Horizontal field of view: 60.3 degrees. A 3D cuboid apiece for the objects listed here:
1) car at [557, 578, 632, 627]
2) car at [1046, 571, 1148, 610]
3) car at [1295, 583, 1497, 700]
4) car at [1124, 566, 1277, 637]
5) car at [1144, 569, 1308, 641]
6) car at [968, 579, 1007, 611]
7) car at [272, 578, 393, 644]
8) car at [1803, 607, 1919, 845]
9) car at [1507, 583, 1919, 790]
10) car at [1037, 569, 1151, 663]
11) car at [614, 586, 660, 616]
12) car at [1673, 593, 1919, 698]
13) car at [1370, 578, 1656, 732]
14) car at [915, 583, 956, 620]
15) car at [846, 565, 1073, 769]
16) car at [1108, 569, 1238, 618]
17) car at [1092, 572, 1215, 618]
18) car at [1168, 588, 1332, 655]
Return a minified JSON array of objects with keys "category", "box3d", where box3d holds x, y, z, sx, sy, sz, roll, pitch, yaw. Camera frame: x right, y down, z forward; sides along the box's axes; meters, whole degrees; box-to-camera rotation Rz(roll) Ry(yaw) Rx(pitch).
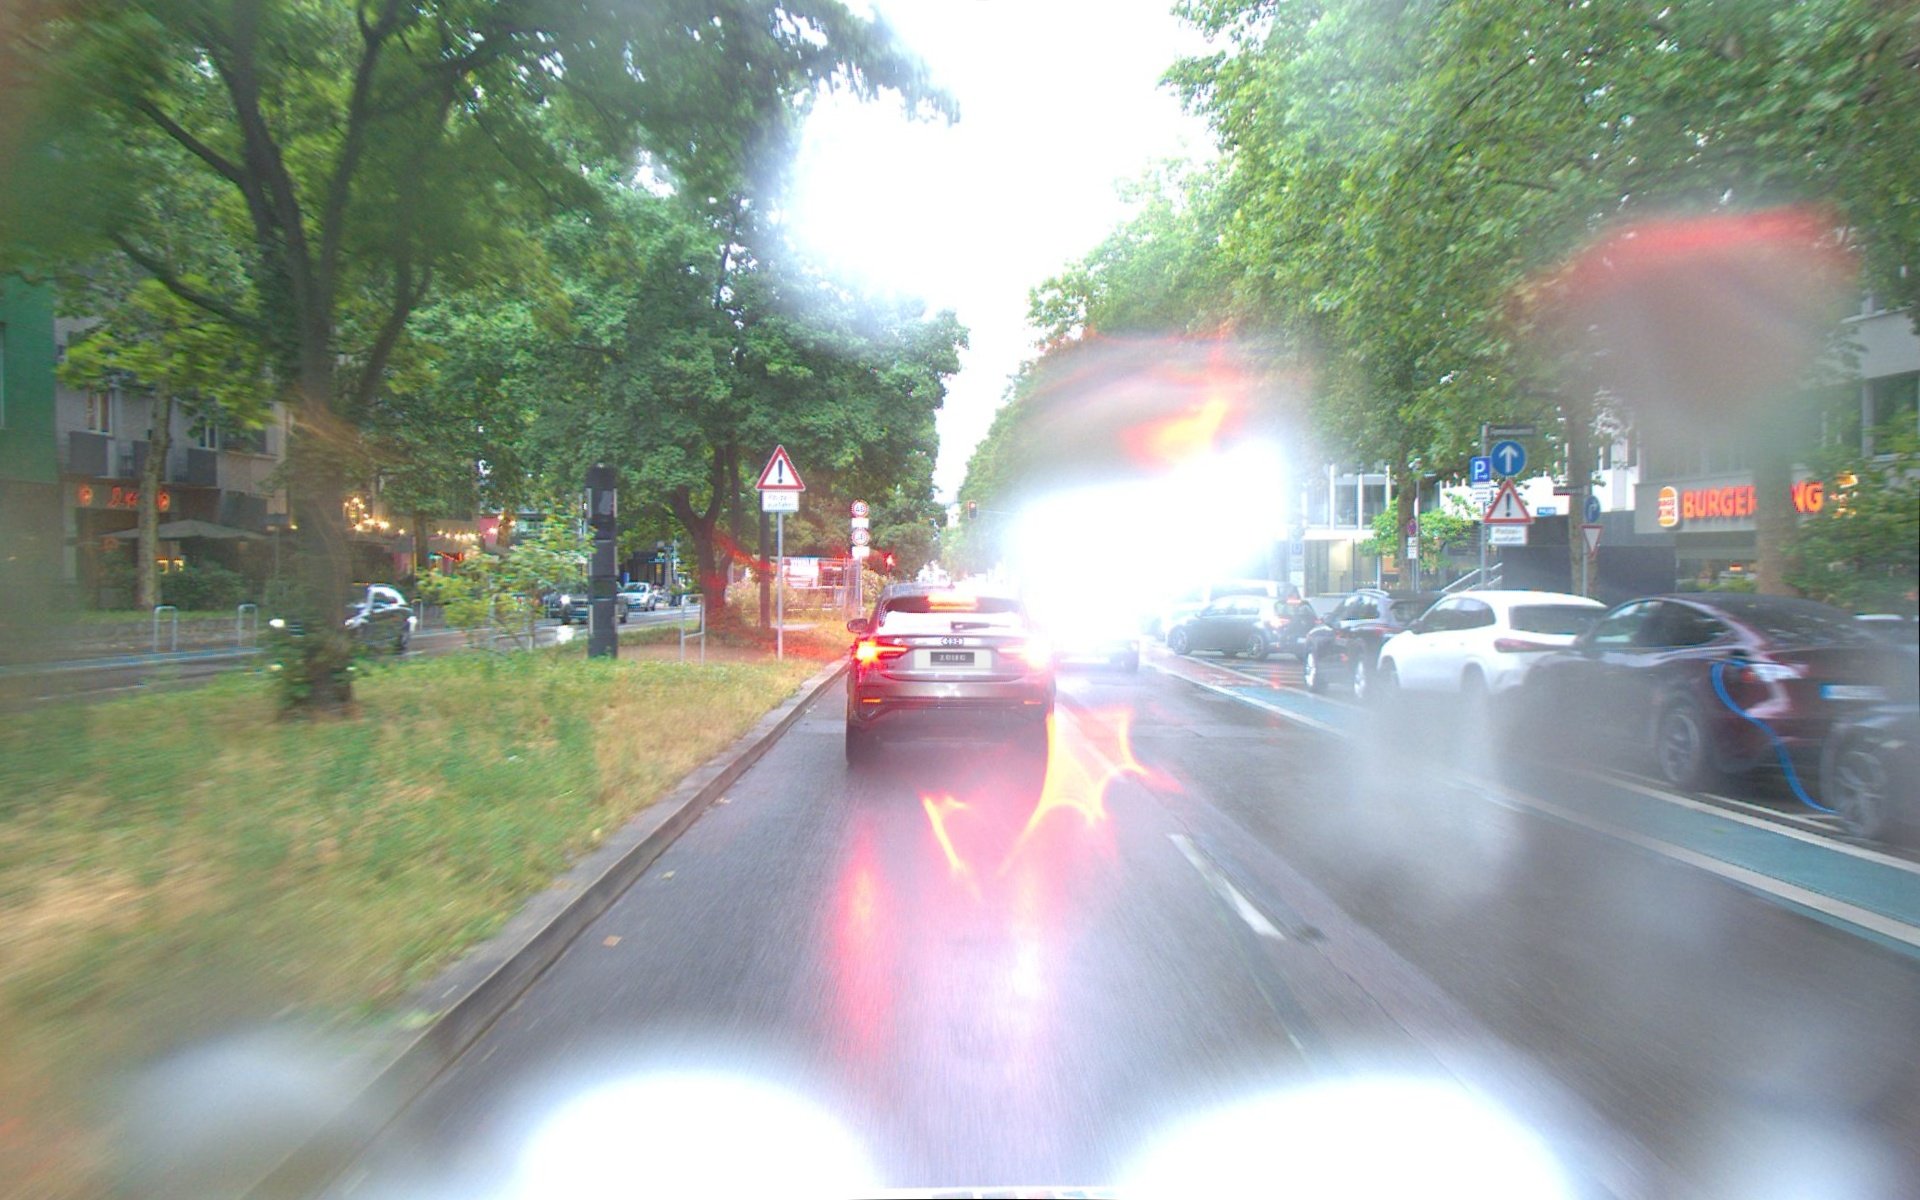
[{"category":"car","box3d":[-13.621,0.104,61.826,1.724,1.733,4.333,2,0,1]},{"category":"car","box3d":[6.726,-0.468,81.325,4.548,1.736,1.998,2,0,27]},{"category":"car","box3d":[6.365,0.571,24.596,1.662,1.549,4.020,2,0,-4]},{"category":"car","box3d":[8.289,0.046,56.989,4.787,2.293,1.997,2,0,28]},{"category":"car","box3d":[8.037,0.142,50.213,4.517,2.049,1.960,2,0,37]},{"category":"car","box3d":[1.505,-0.245,91.694,1.953,1.680,3.999,2,0,-1]},{"category":"car","box3d":[-13.223,0.228,35.039,1.658,1.280,3.637,2,0,-9]},{"category":"car","box3d":[6.846,0.811,9.221,1.835,1.445,4.610,2,0,-1]},{"category":"car","box3d":[6.721,0.669,14.938,1.830,1.547,4.556,2,0,-3]},{"category":"car","box3d":[2.607,0.302,33.070,1.840,1.727,3.999,2,0,-1]},{"category":"car","box3d":[-17.352,0.043,88.956,1.691,1.544,3.999,2,0,-1]},{"category":"car","box3d":[14.446,0.755,27.913,4.155,1.594,2.056,2,0,16]},{"category":"car","box3d":[6.420,0.592,19.689,1.694,1.599,4.069,2,0,-6]},{"category":"car","box3d":[-1.264,0.056,83.204,1.953,1.757,3.998,2,0,-2]},{"category":"car","box3d":[-0.076,0.530,15.371,1.812,1.630,3.998,1,0,-2]},{"category":"car","box3d":[8.218,-0.266,63.808,4.548,1.736,1.998,2,0,27]},{"category":"car","box3d":[7.883,-0.220,67.313,4.548,1.736,1.998,2,0,27]},{"category":"car","box3d":[6.661,0.475,38.280,1.544,1.402,3.825,2,0,-33]}]
